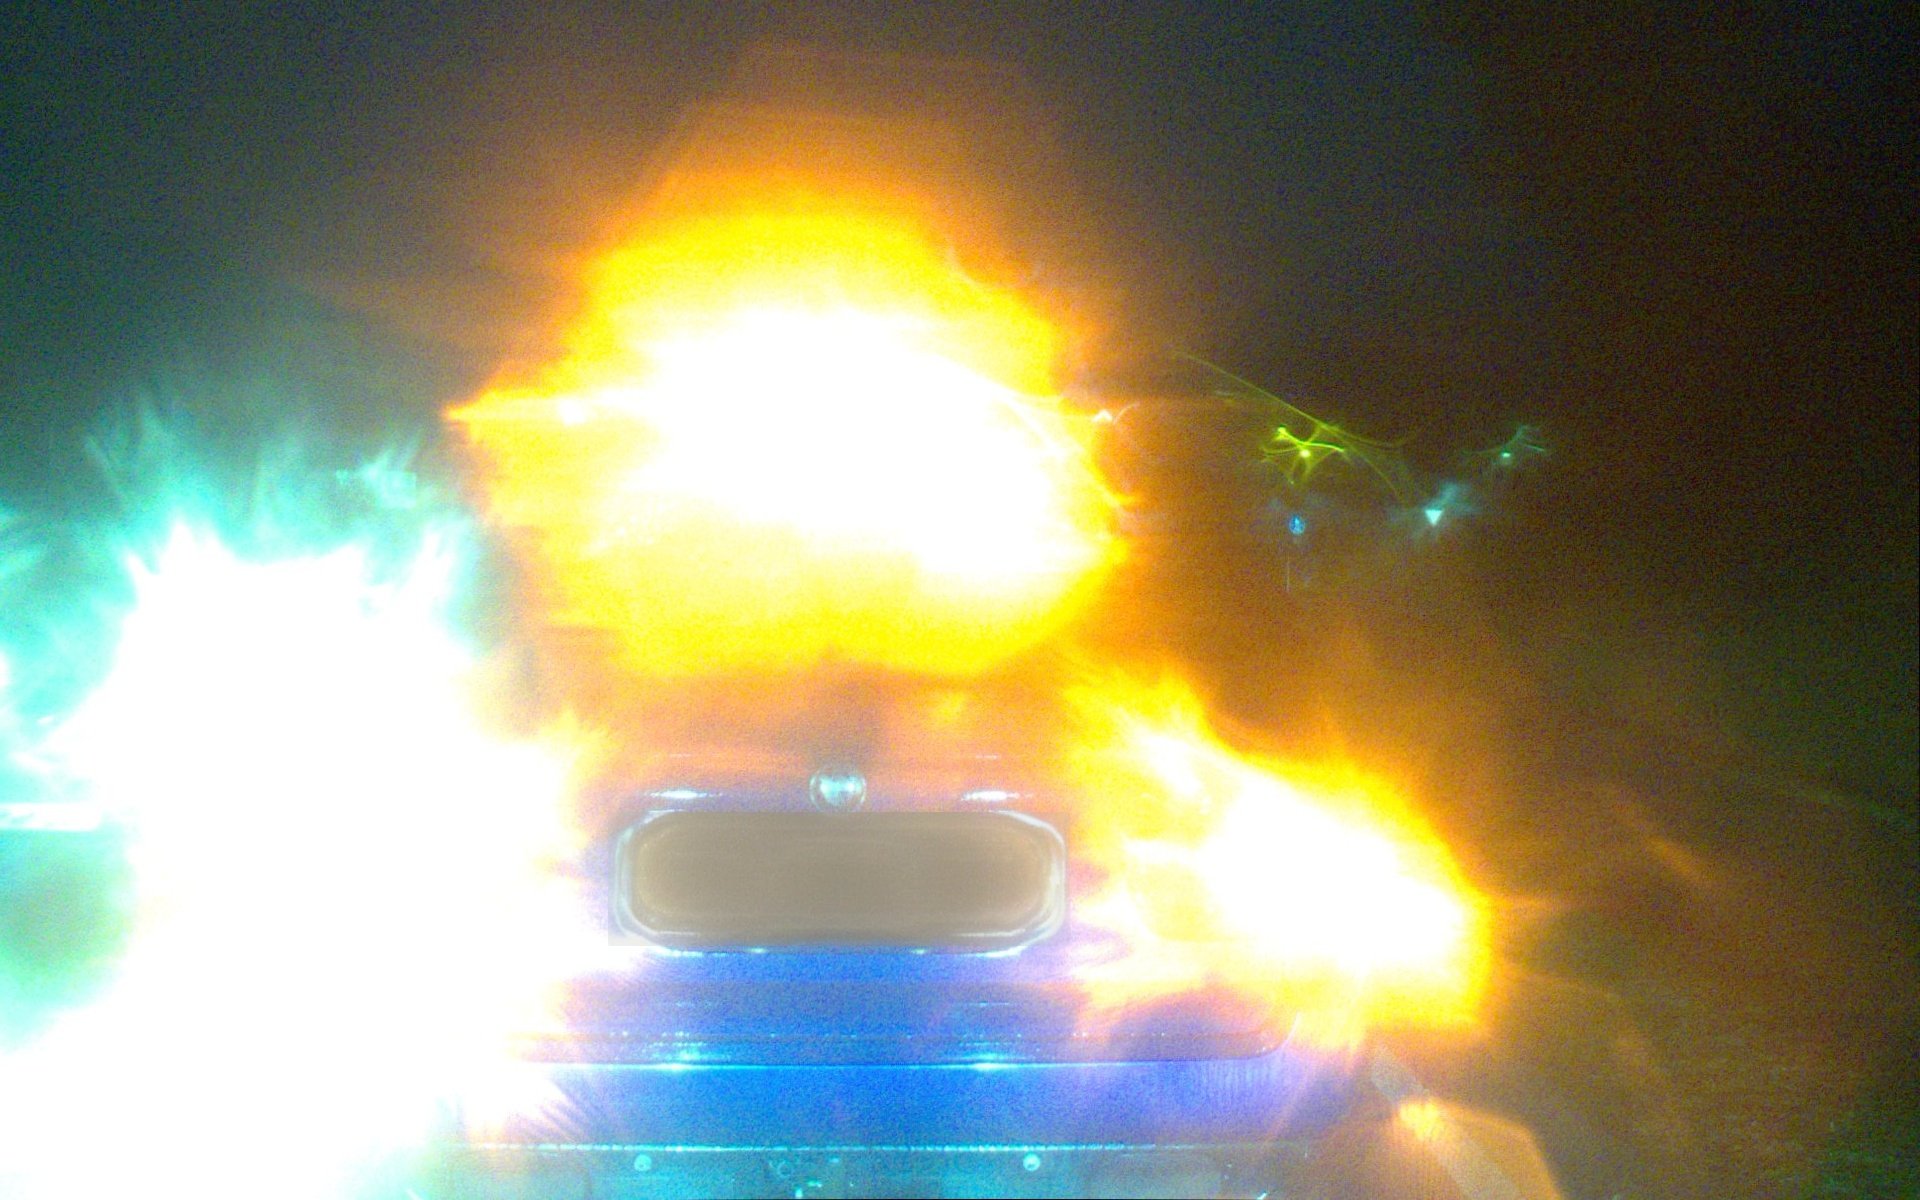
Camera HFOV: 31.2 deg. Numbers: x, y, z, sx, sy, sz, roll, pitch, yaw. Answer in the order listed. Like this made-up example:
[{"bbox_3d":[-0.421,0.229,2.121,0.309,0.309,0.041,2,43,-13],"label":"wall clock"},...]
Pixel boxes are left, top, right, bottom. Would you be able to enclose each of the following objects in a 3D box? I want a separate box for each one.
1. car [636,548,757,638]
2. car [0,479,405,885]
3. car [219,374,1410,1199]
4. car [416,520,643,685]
[{"bbox_3d":[-4.686,-0.148,61.637,1.903,1.465,4.275,2,1,-1],"label":"car"},{"bbox_3d":[-3.856,0.299,16.139,1.951,1.650,4.125,-1,1,-2],"label":"car"},{"bbox_3d":[-0.226,0.502,7.160,1.775,1.706,4.000,1,1,0],"label":"car"},{"bbox_3d":[-4.289,-0.025,34.785,1.837,1.540,4.257,1,1,-1],"label":"car"}]
